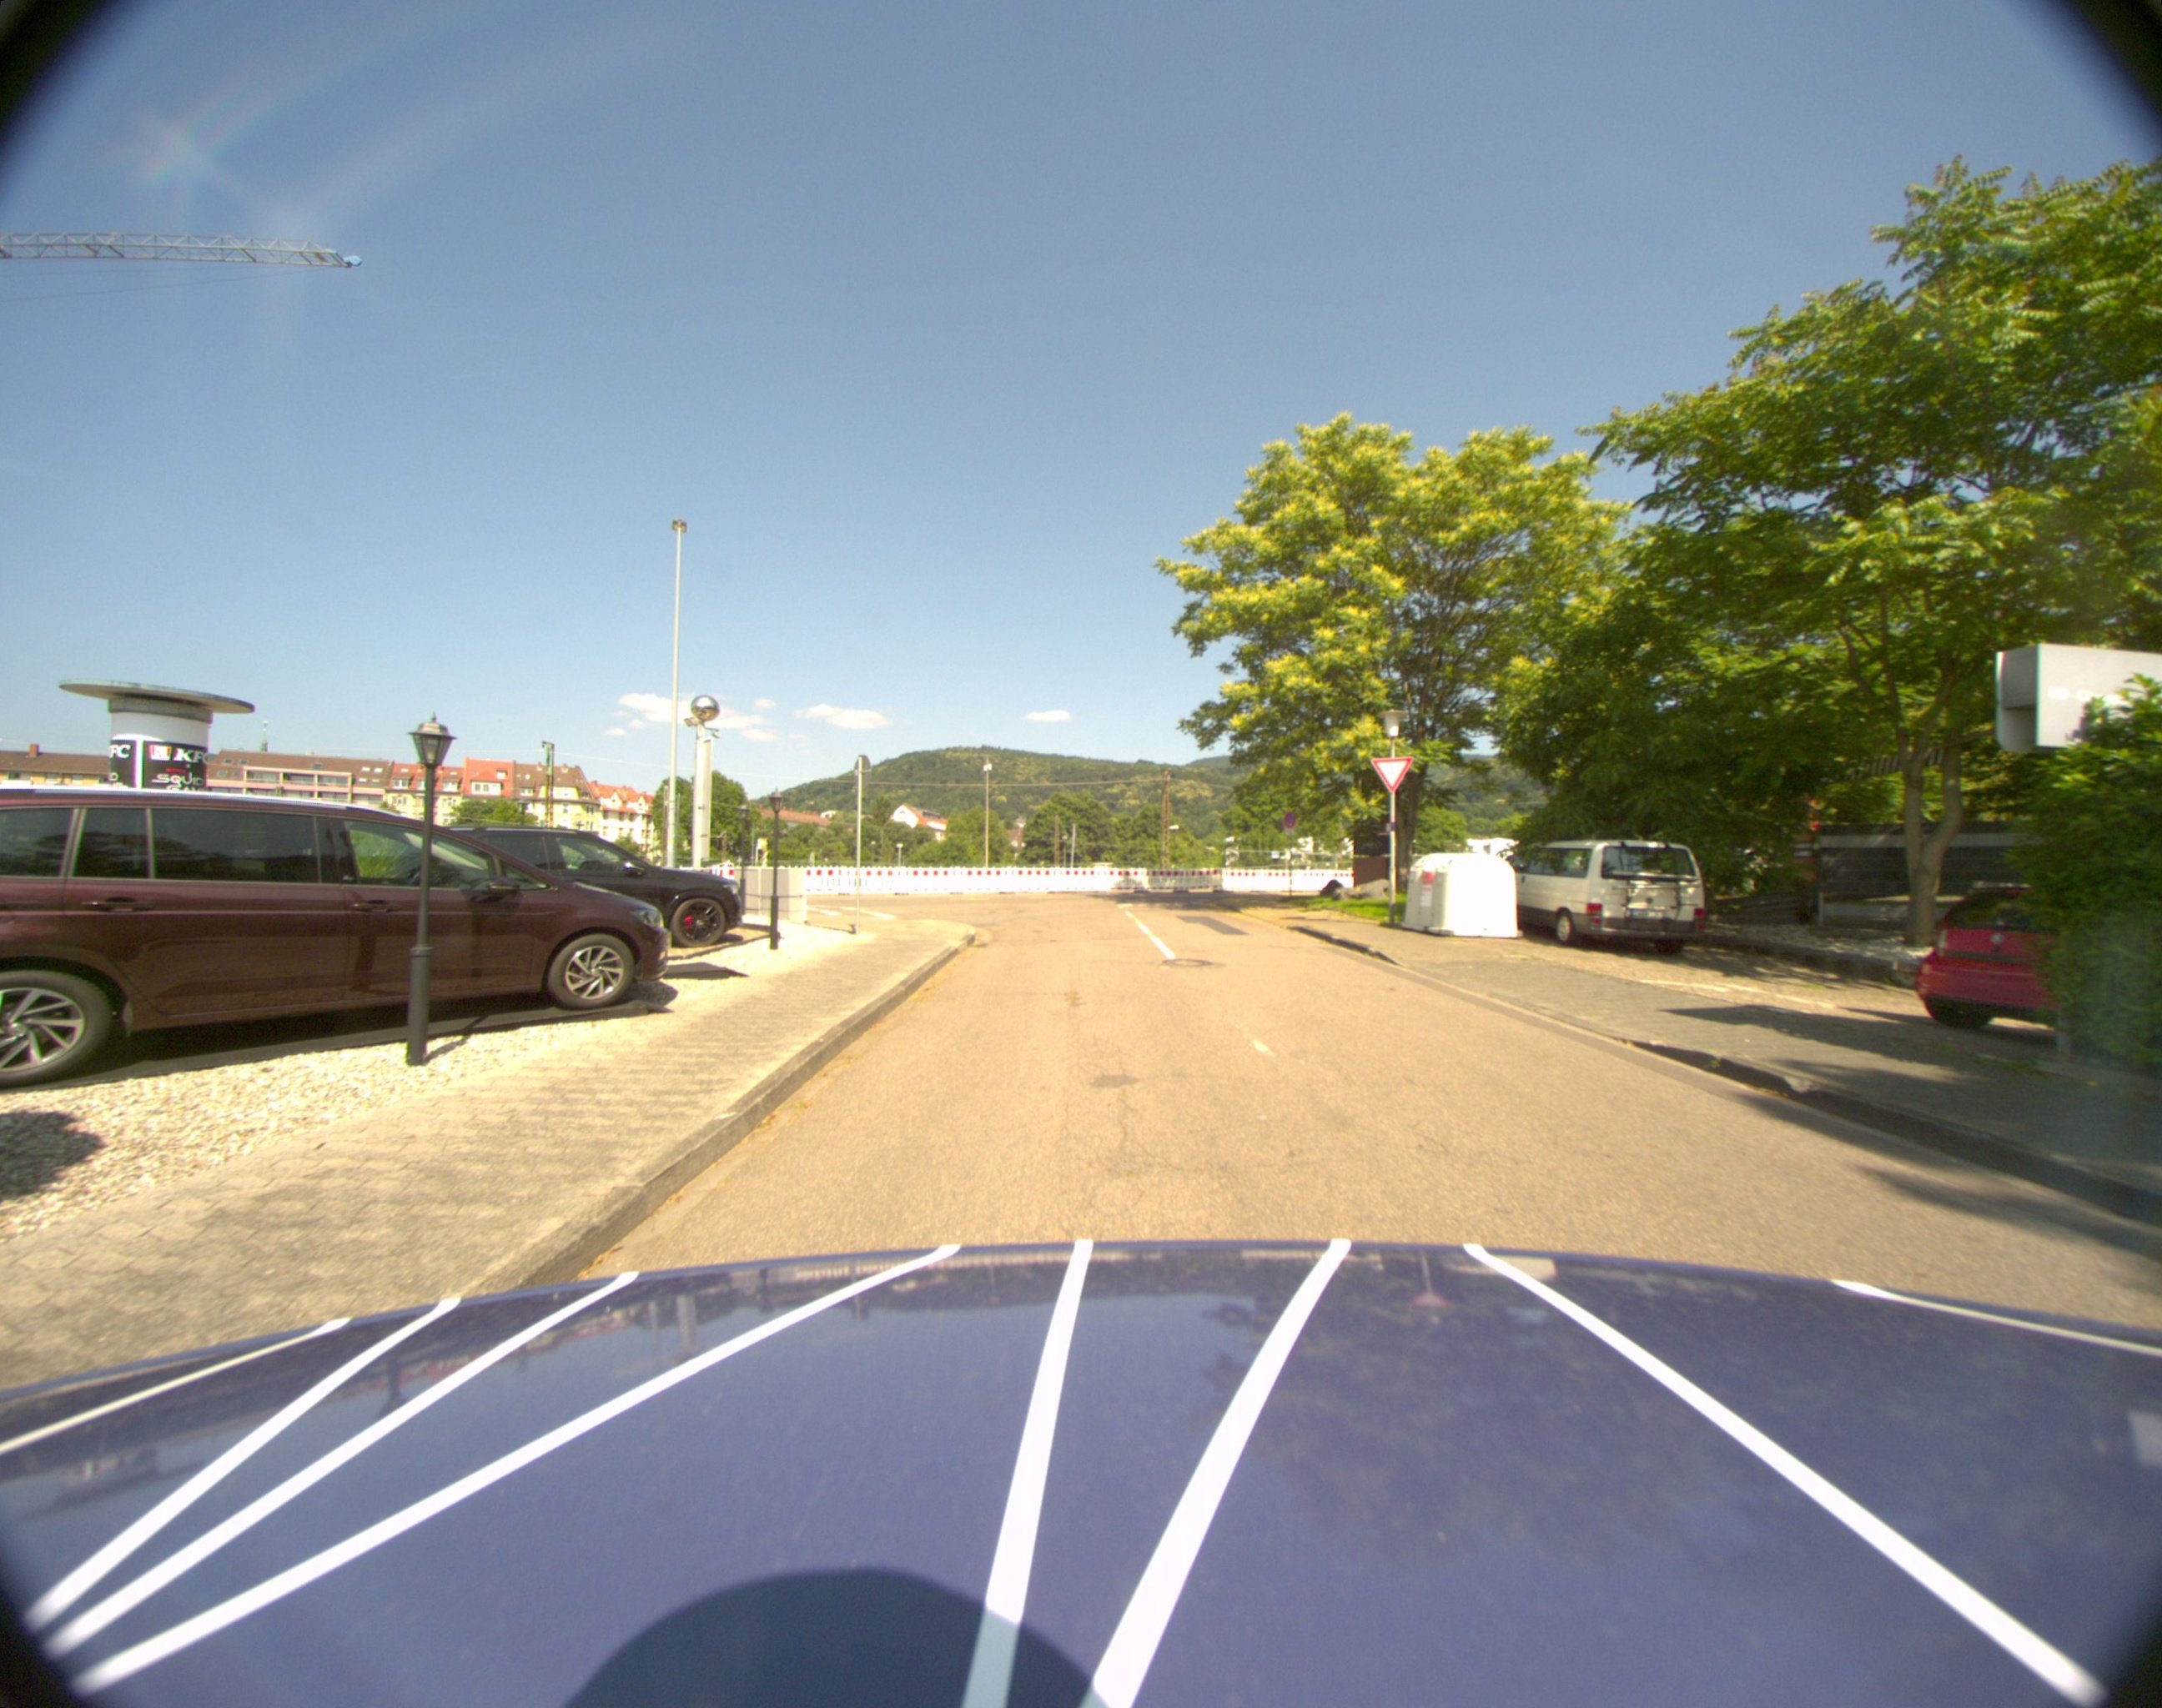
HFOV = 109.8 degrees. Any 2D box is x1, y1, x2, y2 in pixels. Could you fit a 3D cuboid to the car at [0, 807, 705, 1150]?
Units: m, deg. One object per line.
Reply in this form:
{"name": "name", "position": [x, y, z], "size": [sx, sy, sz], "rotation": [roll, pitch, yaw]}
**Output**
{"name": "car", "position": [-5.441, 0.642, 5.714], "size": [1.847, 1.772, 4.300], "rotation": [1, 0, 35]}

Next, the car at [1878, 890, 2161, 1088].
{"name": "car", "position": [9.786, 1.225, 6.780], "size": [3.420, 1.457, 1.651], "rotation": [5, 0, 3]}

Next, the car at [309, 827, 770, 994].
{"name": "car", "position": [-7.118, 0.610, 10.525], "size": [2.011, 1.769, 4.828], "rotation": [1, 0, 39]}

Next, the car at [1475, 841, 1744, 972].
{"name": "car", "position": [9.552, 0.778, 14.429], "size": [1.997, 1.920, 5.103], "rotation": [3, 2, 8]}

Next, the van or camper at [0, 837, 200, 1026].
{"name": "van or camper", "position": [-11.267, 0.662, 6.667], "size": [4.302, 1.674, 1.994], "rotation": [1, 0, -38]}

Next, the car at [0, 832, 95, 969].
{"name": "car", "position": [-15.043, 0.551, 8.972], "size": [1.855, 1.696, 4.009], "rotation": [1, 0, 42]}
